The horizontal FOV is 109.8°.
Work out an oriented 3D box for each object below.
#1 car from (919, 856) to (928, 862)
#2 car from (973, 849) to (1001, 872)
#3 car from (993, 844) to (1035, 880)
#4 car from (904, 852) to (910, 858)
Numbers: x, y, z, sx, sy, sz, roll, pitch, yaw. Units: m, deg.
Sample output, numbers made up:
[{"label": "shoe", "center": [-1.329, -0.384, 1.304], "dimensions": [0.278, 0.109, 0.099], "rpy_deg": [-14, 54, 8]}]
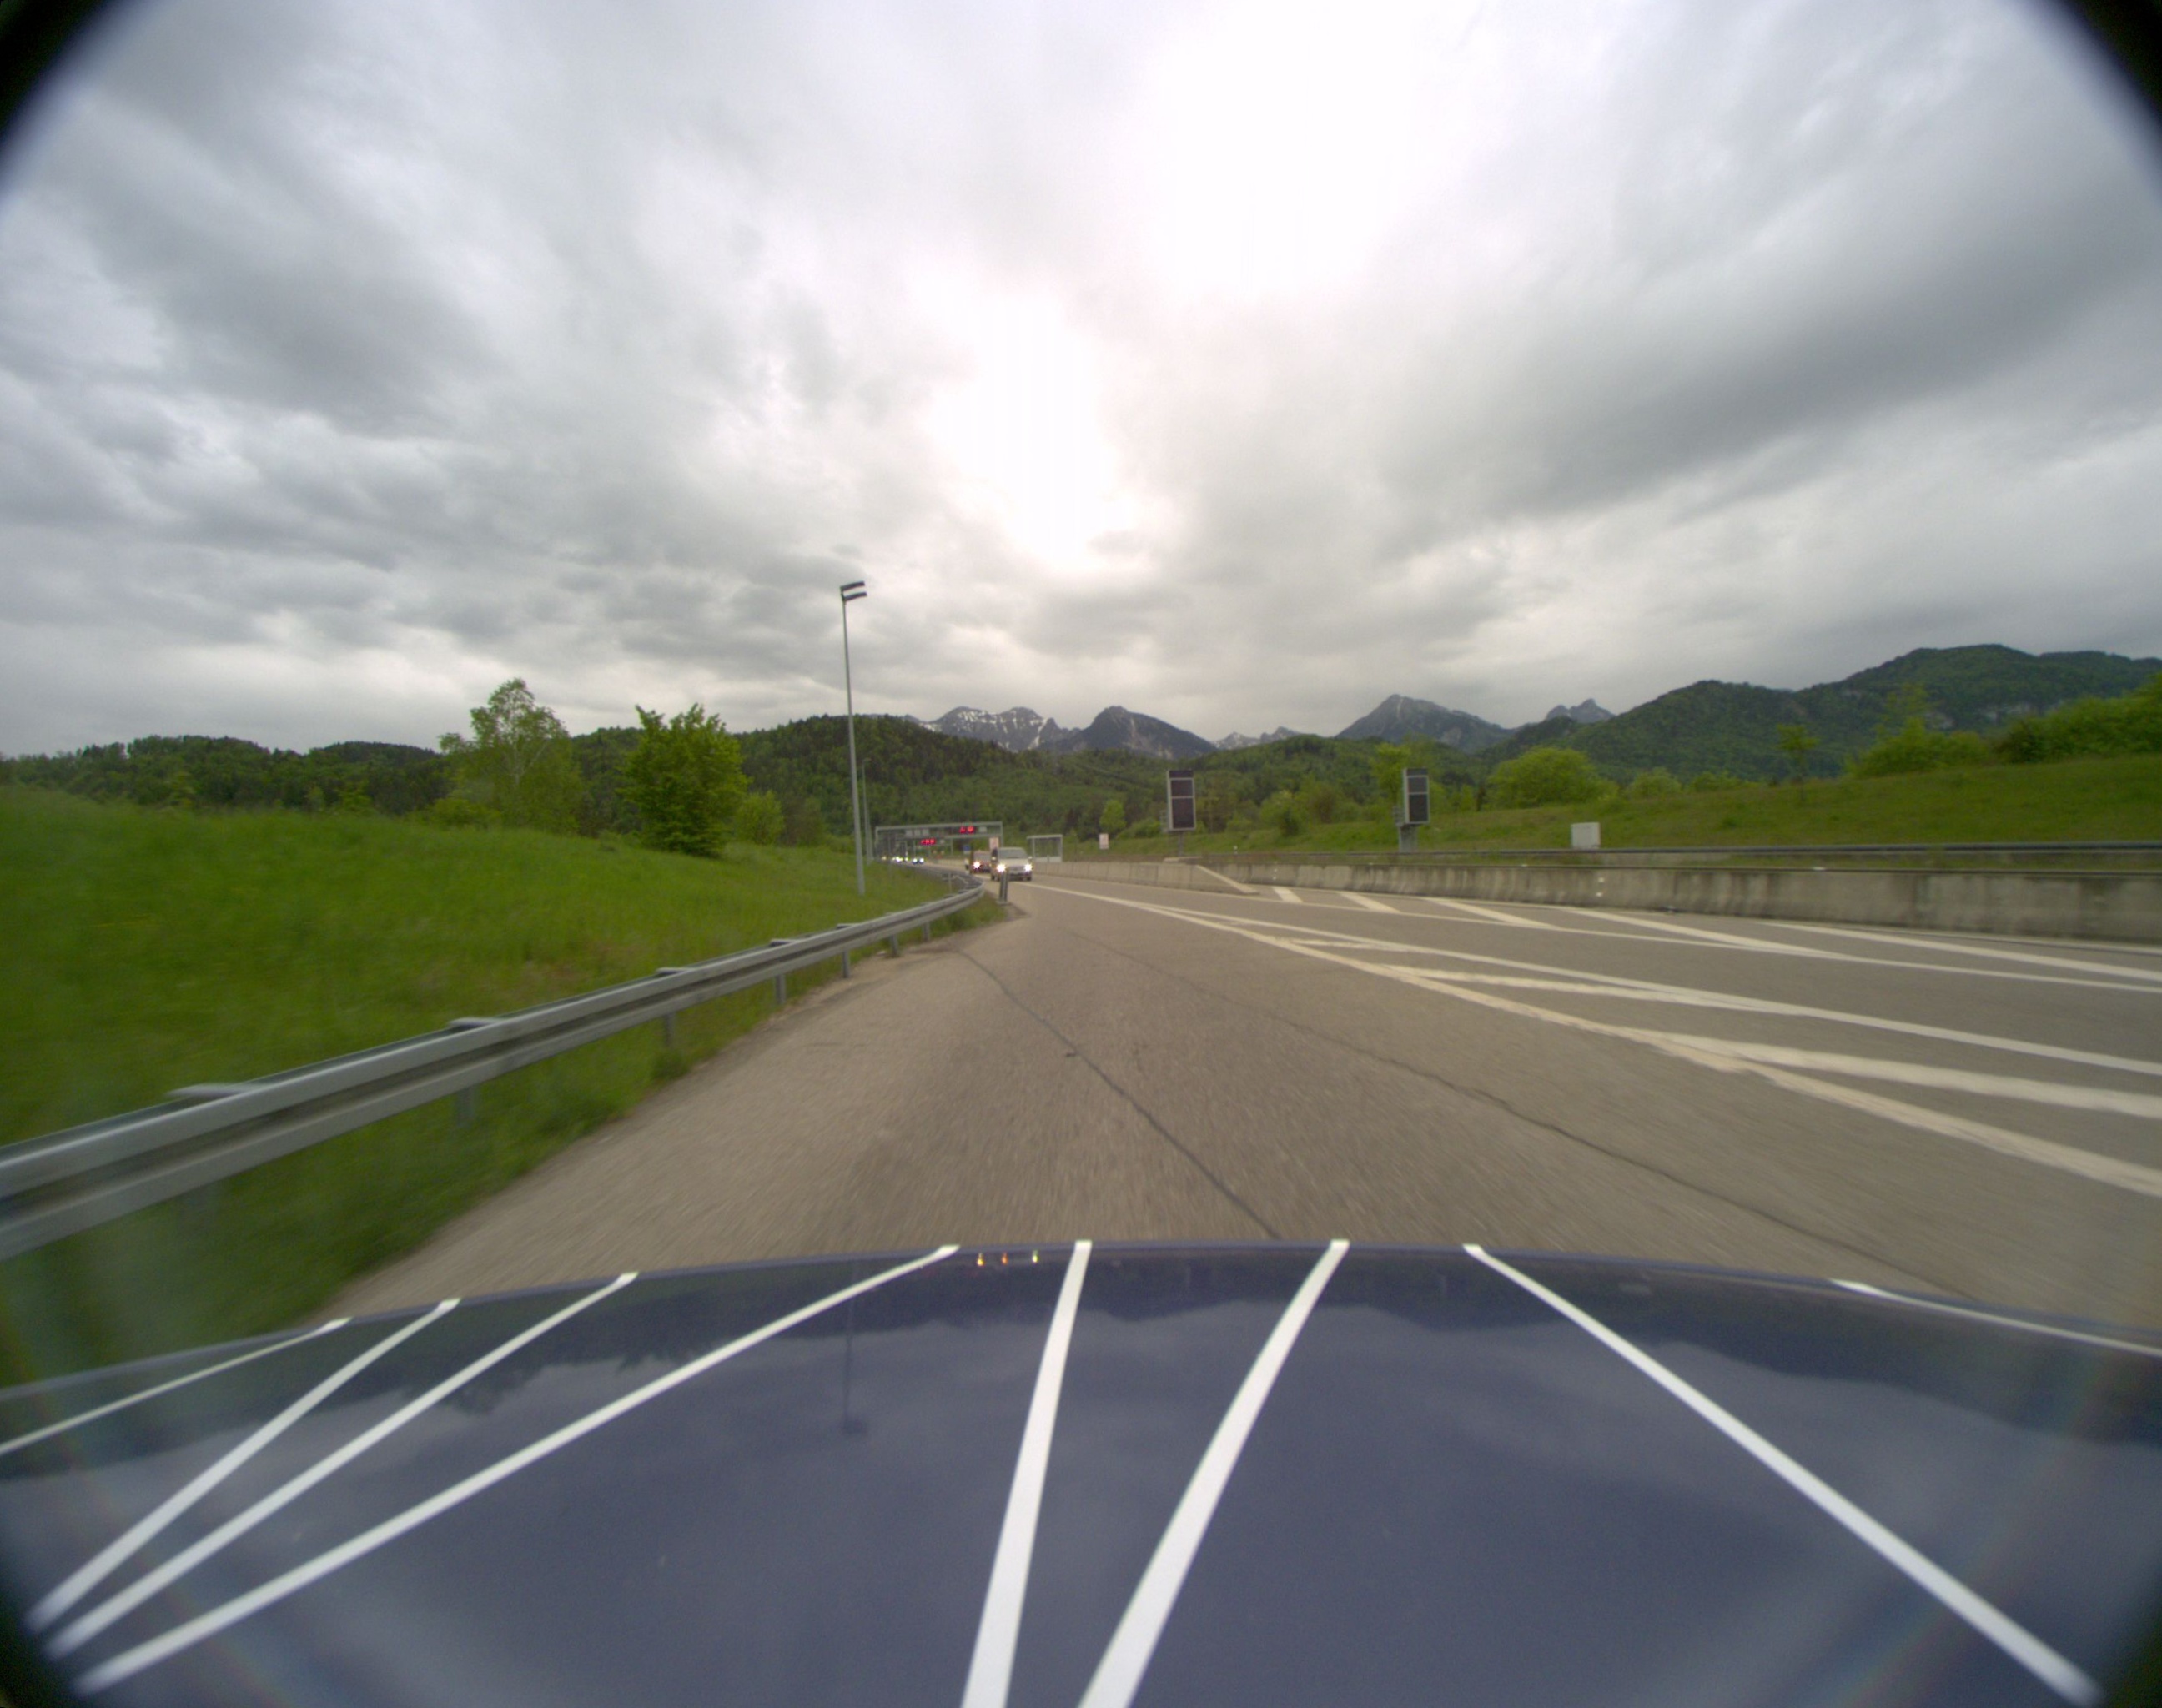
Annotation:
[{"label": "car", "center": [-32.326, 1.016, 155.789], "dimensions": [1.666, 1.329, 3.787], "rpy_deg": [-1, 0, -15]}, {"label": "car", "center": [-7.734, 0.513, 62.102], "dimensions": [1.758, 1.794, 3.995], "rpy_deg": [-1, 0, -15]}, {"label": "car", "center": [-3.886, 0.432, 43.118], "dimensions": [1.924, 1.871, 5.133], "rpy_deg": [-2, 1, -10]}, {"label": "car", "center": [-53.176, 0.334, 232.103], "dimensions": [1.632, 1.688, 3.493], "rpy_deg": [-1, 0, -11]}]
